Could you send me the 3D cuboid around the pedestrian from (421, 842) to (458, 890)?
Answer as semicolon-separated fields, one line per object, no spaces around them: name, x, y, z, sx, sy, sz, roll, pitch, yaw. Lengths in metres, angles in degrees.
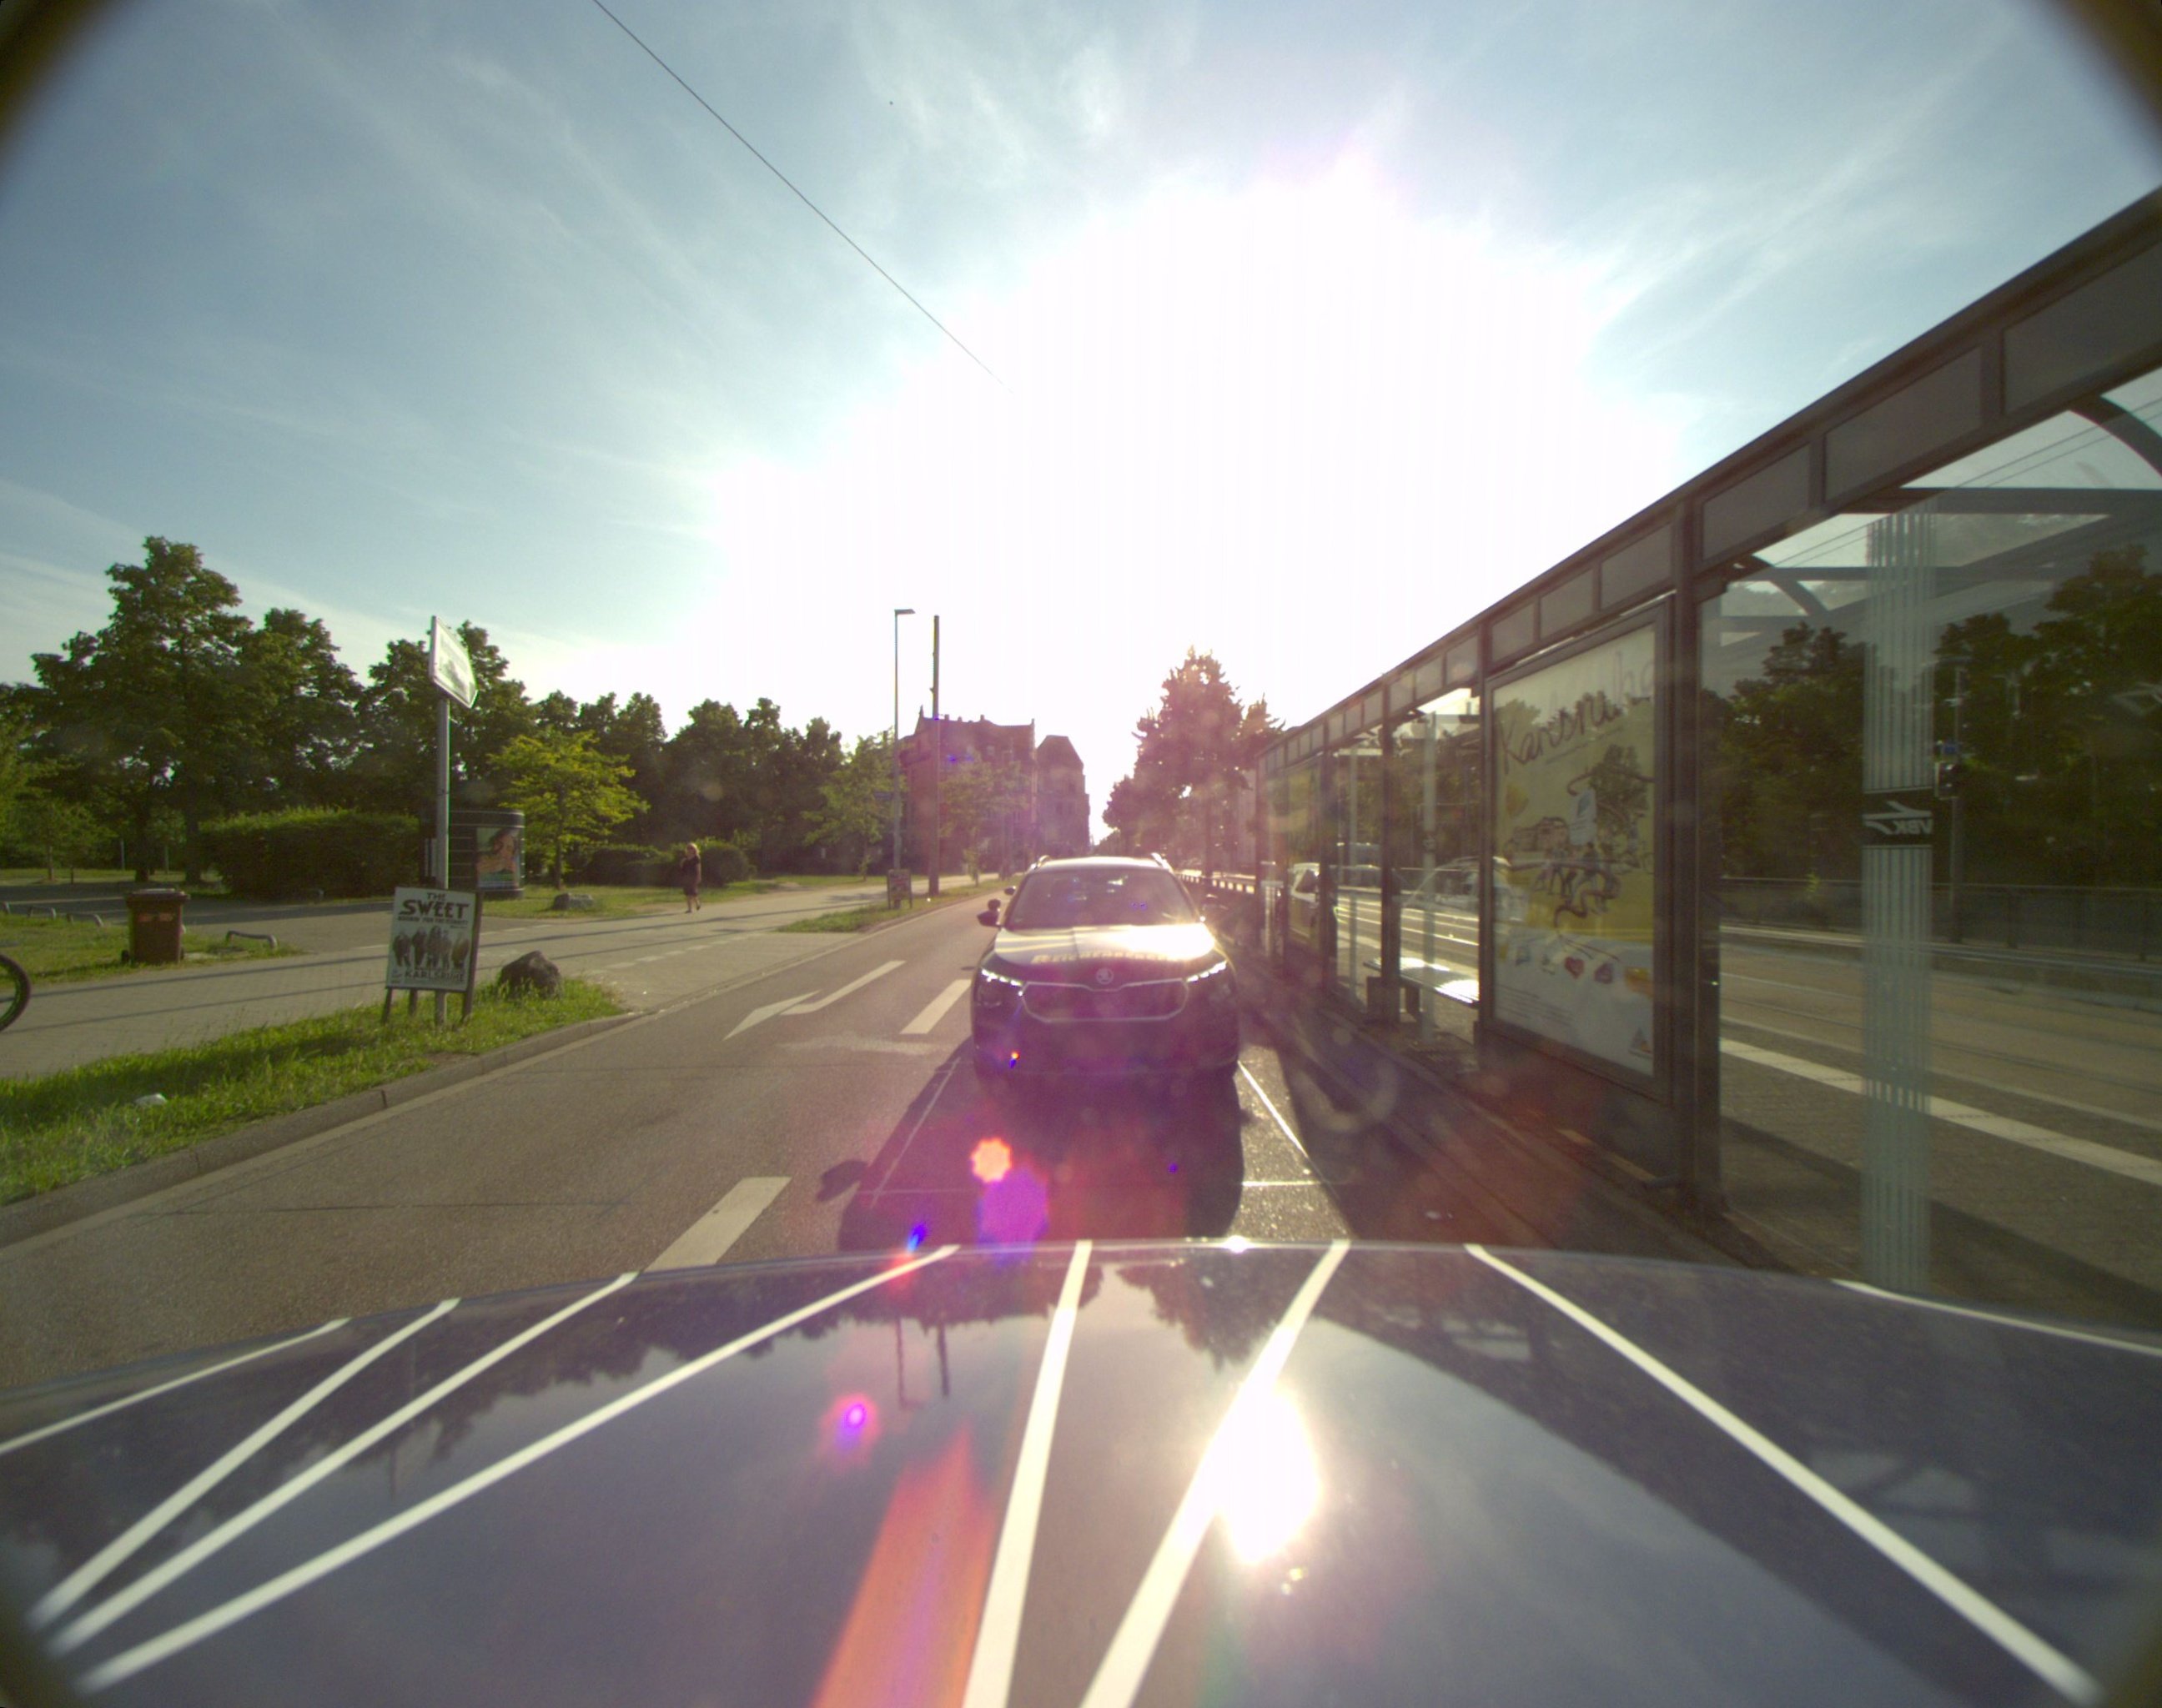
pedestrian;-28.833;0.526;34.171;0.910;2.145;0.891;0;0;13

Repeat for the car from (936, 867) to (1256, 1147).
car;0.106;0.886;6.240;1.781;1.496;4.000;0;0;1

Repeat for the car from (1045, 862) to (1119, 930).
car;0.047;0.966;19.082;1.672;1.496;3.872;0;0;1

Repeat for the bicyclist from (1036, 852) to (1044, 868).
bicyclist;-4.519;0.627;83.289;0.753;1.763;1.119;0;0;1

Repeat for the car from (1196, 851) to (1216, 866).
car;16.957;0.577;103.378;1.998;2.002;4.000;0;0;0

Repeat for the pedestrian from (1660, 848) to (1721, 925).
pedestrian;13.094;0.686;16.347;0.736;1.618;0.689;0;0;1

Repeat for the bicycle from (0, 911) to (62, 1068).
bicycle;-8.231;0.986;4.860;0.641;1.081;1.942;3;0;11

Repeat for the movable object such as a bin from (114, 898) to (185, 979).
movable object such as a bin;-11.322;1.009;9.242;0.502;0.898;0.526;1;1;39

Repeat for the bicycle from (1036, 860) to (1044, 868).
bicycle;-4.529;1.104;83.366;0.740;0.912;2.095;0;0;2

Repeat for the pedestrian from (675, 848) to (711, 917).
pedestrian;-9.674;0.697;18.973;0.558;1.691;0.662;0;1;0

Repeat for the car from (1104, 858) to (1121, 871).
car;4.255;1.368;102.182;1.999;1.674;3.999;0;0;-1

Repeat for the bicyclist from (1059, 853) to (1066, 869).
bicyclist;-2.074;0.739;85.206;0.730;1.763;1.015;0;0;-1

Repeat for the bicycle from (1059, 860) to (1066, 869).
bicycle;-2.065;1.194;85.276;0.740;0.912;2.094;0;0;0

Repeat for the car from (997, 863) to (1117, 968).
car;-0.332;0.934;13.238;1.781;1.496;4.000;0;0;1
